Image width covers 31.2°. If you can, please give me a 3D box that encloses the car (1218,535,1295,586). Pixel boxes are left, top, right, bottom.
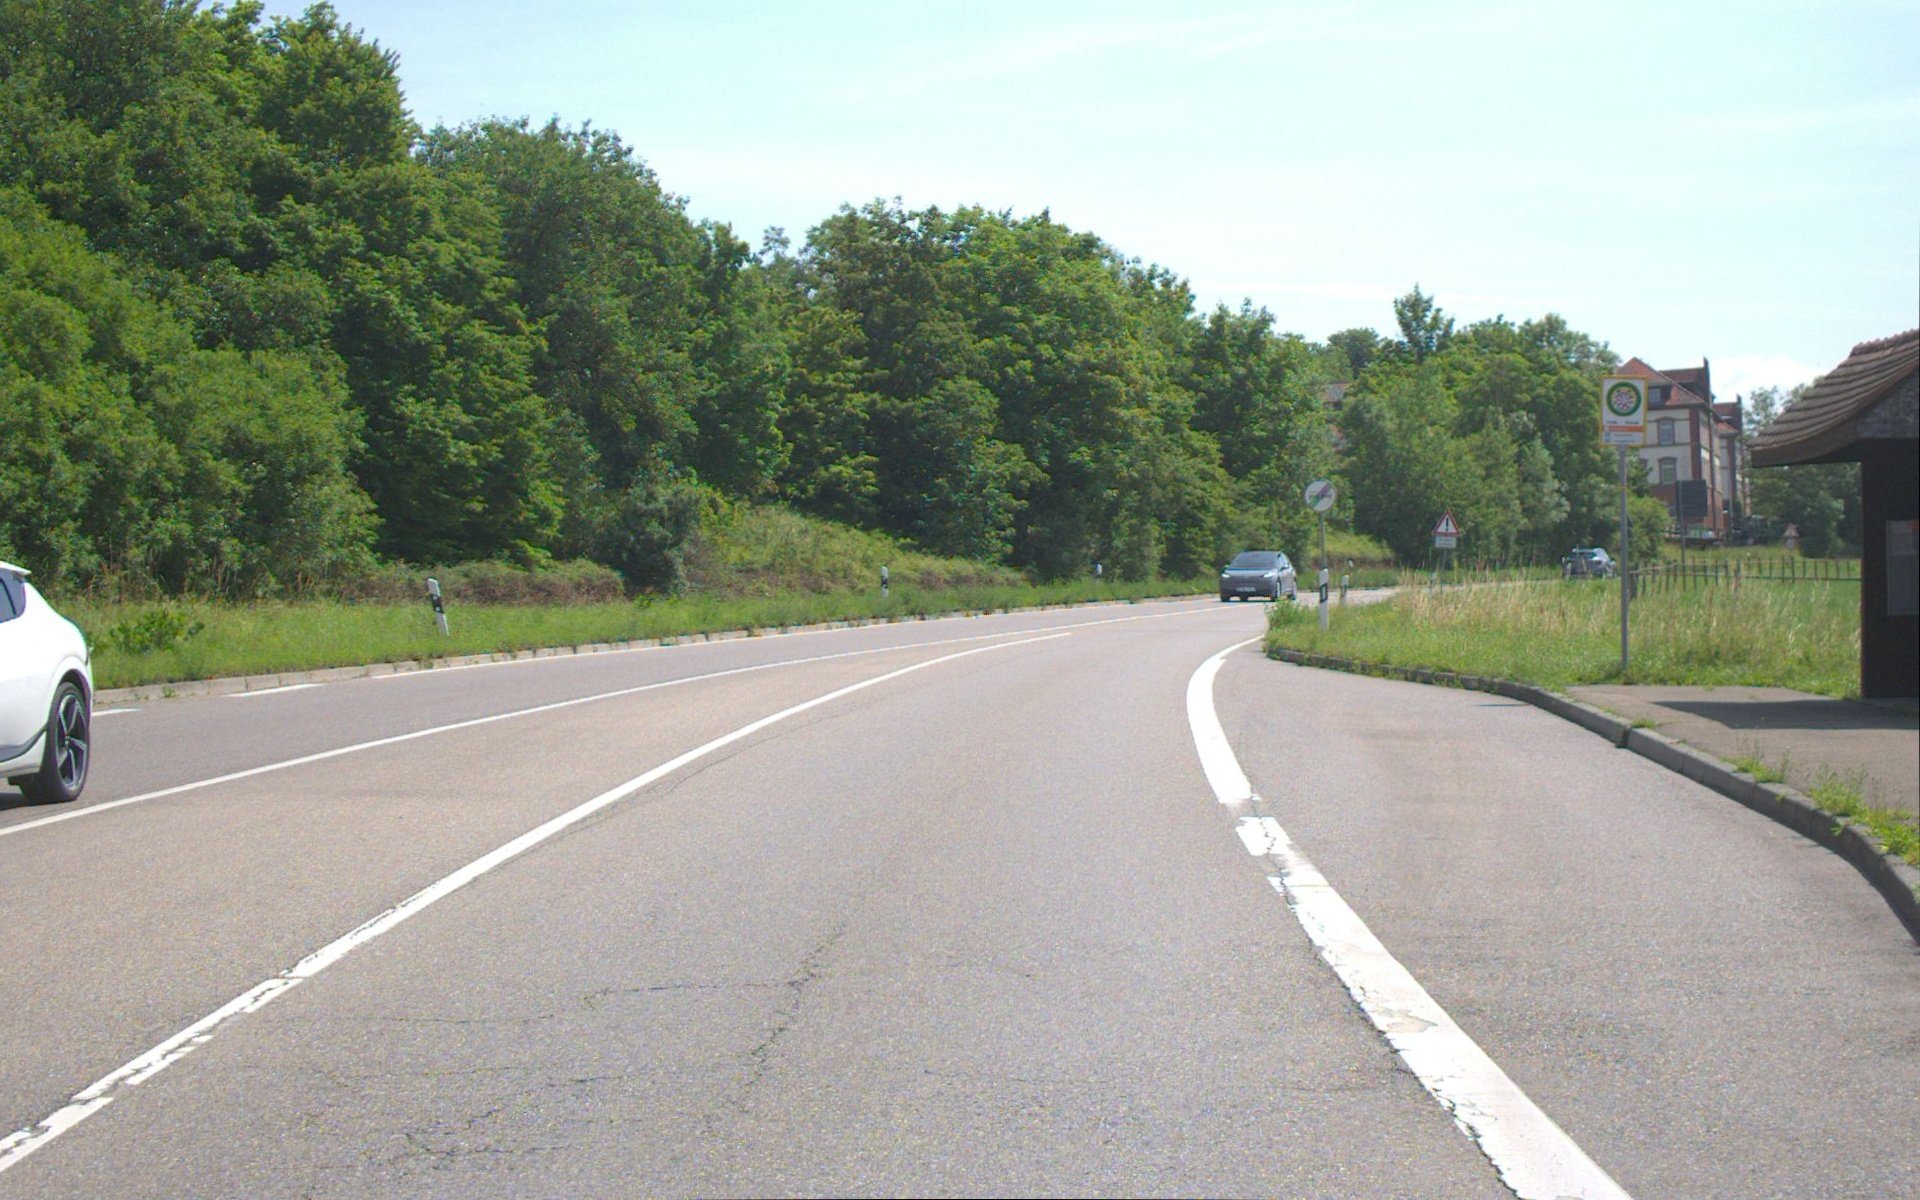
[{"bbox_3d":[9.131,-1.213,105.557,1.755,1.529,4.226,1,1,13],"label":"car"}]

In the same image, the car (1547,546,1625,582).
[{"bbox_3d":[27.265,-1.577,149.709,1.997,1.568,3.993,0,1,32],"label":"car"}]

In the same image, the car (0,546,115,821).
[{"bbox_3d":[-6.344,0.461,19.142,1.937,1.543,4.627,0,1,3],"label":"car"}]
